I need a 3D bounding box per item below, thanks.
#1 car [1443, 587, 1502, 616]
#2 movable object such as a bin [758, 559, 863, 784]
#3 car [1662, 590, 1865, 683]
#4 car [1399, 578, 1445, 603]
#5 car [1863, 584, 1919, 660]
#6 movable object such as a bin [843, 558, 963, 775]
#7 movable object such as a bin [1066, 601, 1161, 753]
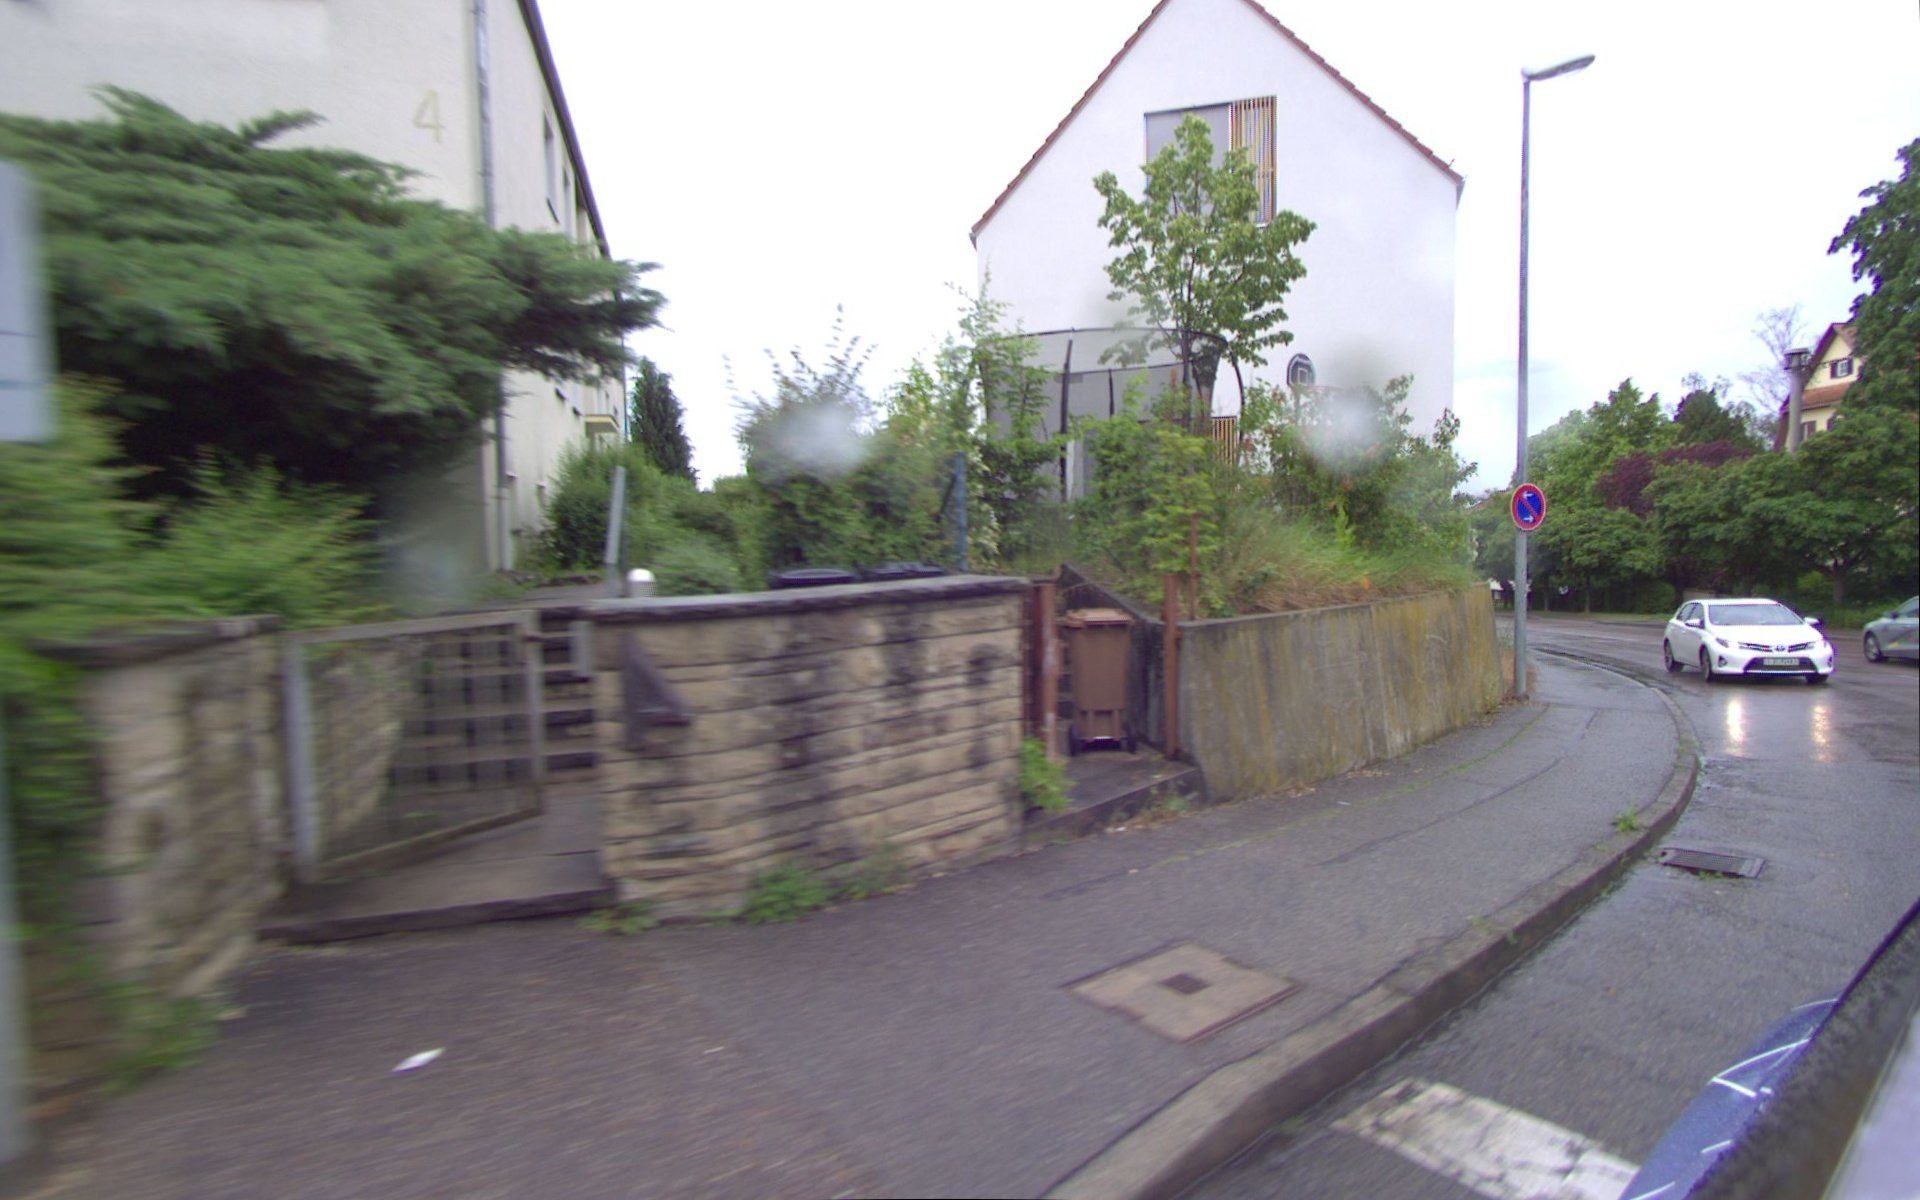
[{"bbox_3d":[26.168,0.067,51.778,1.655,1.423,3.666,-1,0,10],"label":"car"},{"bbox_3d":[-0.922,0.403,6.175,0.504,1.259,0.611,-3,4,-17],"label":"movable object such as a bin"},{"bbox_3d":[14.749,0.609,18.847,1.838,1.453,3.988,-2,1,22],"label":"car"},{"bbox_3d":[28.341,-0.562,62.163,1.797,1.440,3.884,-1,0,13],"label":"car"},{"bbox_3d":[18.875,0.399,18.700,1.578,1.431,4.214,-1,0,17],"label":"car"},{"bbox_3d":[-0.372,0.385,6.397,0.589,1.259,0.611,-3,4,-17],"label":"movable object such as a bin"},{"bbox_3d":[0.999,0.484,6.649,0.471,0.948,0.467,-1,0,-9],"label":"movable object such as a bin"}]
